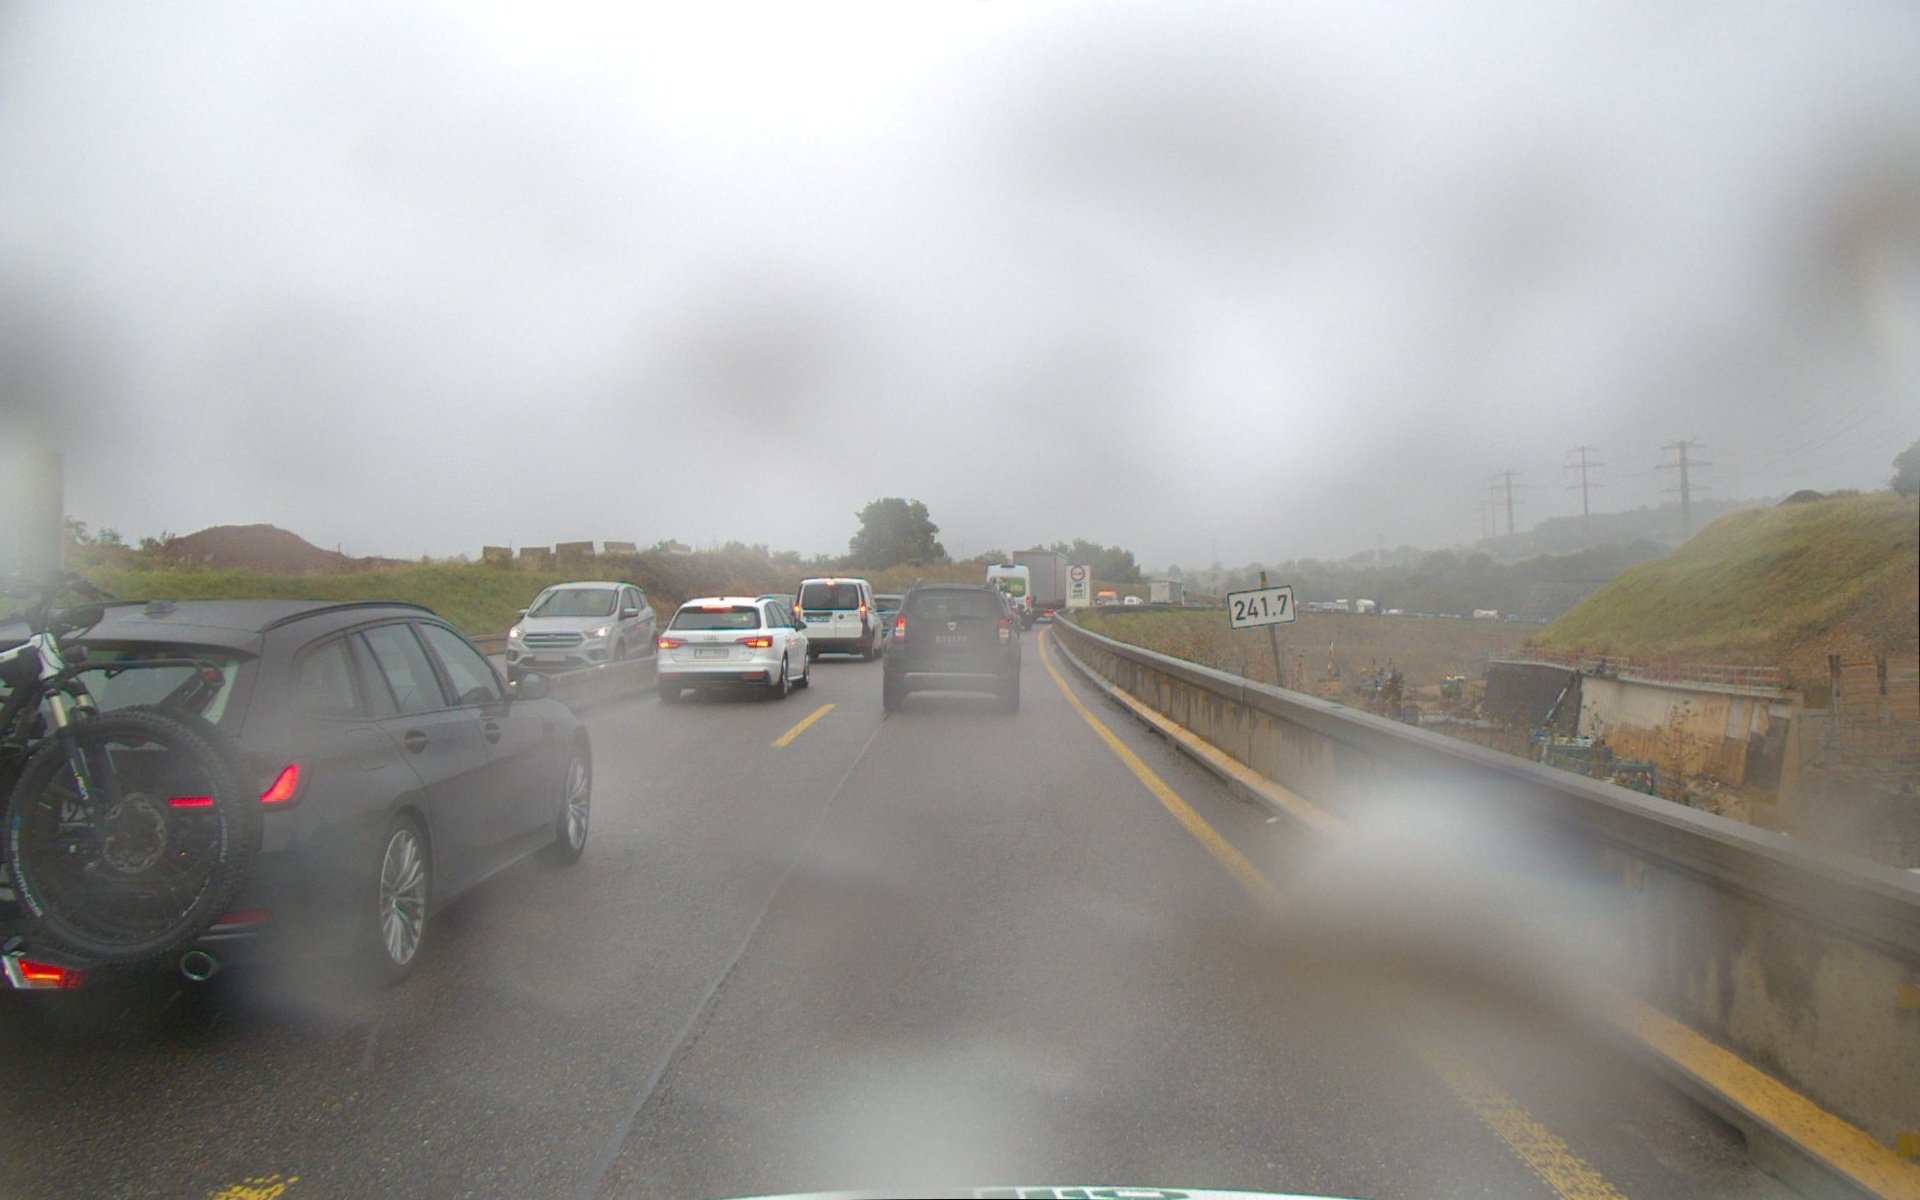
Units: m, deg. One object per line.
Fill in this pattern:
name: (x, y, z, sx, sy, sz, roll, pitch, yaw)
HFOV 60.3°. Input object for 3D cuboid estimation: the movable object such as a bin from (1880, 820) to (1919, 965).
movable object such as a bin: (21.301, 6.132, 34.064, 3.084, 2.786, 2.969, 1, -1, 2)

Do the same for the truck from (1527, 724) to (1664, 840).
truck: (24.316, 6.854, 63.802, 2.672, 3.552, 9.071, 1, -1, 6)

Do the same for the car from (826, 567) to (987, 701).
car: (-0.628, 0.438, 22.379, 1.788, 1.619, 4.001, 1, -1, 3)

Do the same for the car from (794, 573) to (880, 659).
car: (-2.781, 0.378, 37.979, 1.789, 1.847, 3.998, 1, -1, -2)

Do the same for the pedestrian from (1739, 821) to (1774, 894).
pedestrian: (22.817, 7.367, 47.370, 0.566, 1.978, 0.729, 1, -1, -26)

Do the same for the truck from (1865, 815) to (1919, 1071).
truck: (15.414, 5.063, 21.043, 2.645, 3.565, 8.943, 1, -1, -2)

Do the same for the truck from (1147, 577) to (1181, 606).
truck: (27.097, -1.123, 219.419, 3.398, 3.780, 8.424, 0, 0, 14)

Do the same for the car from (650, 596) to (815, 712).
car: (-3.223, 0.741, 24.164, 1.789, 1.525, 4.000, 1, -1, 1)

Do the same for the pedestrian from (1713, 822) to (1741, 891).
pedestrian: (22.350, 7.468, 48.190, 0.561, 1.902, 0.736, 0, -1, 8)

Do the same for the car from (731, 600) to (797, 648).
car: (-6.225, 0.755, 52.916, 1.577, 1.468, 4.461, 1, -1, 0)

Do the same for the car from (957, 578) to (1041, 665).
car: (0.857, 0.486, 37.548, 1.789, 1.847, 4.000, 1, -1, 1)

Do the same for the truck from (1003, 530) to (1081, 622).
truck: (4.975, -1.303, 98.029, 3.468, 5.166, 10.449, 1, -1, 9)

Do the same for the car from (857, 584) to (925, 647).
car: (-2.088, 0.490, 51.060, 1.788, 1.847, 4.000, 1, -1, 1)

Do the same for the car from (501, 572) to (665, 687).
car: (-6.229, 0.459, 27.792, 1.754, 1.754, 4.287, 1, 0, 0)

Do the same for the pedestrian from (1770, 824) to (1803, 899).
pedestrian: (23.372, 7.368, 46.751, 0.721, 1.978, 0.572, 0, -1, 40)

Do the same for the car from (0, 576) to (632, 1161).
car: (-2.856, 0.685, 7.259, 1.699, 1.488, 5.630, 0, 2, 0)

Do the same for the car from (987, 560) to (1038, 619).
car: (2.357, -0.429, 72.995, 1.787, 2.480, 4.161, 1, -1, 8)

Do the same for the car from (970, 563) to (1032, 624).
car: (1.344, -0.190, 52.670, 1.788, 1.847, 4.002, 1, -1, 4)

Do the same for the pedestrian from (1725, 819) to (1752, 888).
pedestrian: (23.017, 7.484, 48.891, 0.564, 1.902, 0.732, 0, -1, 38)
